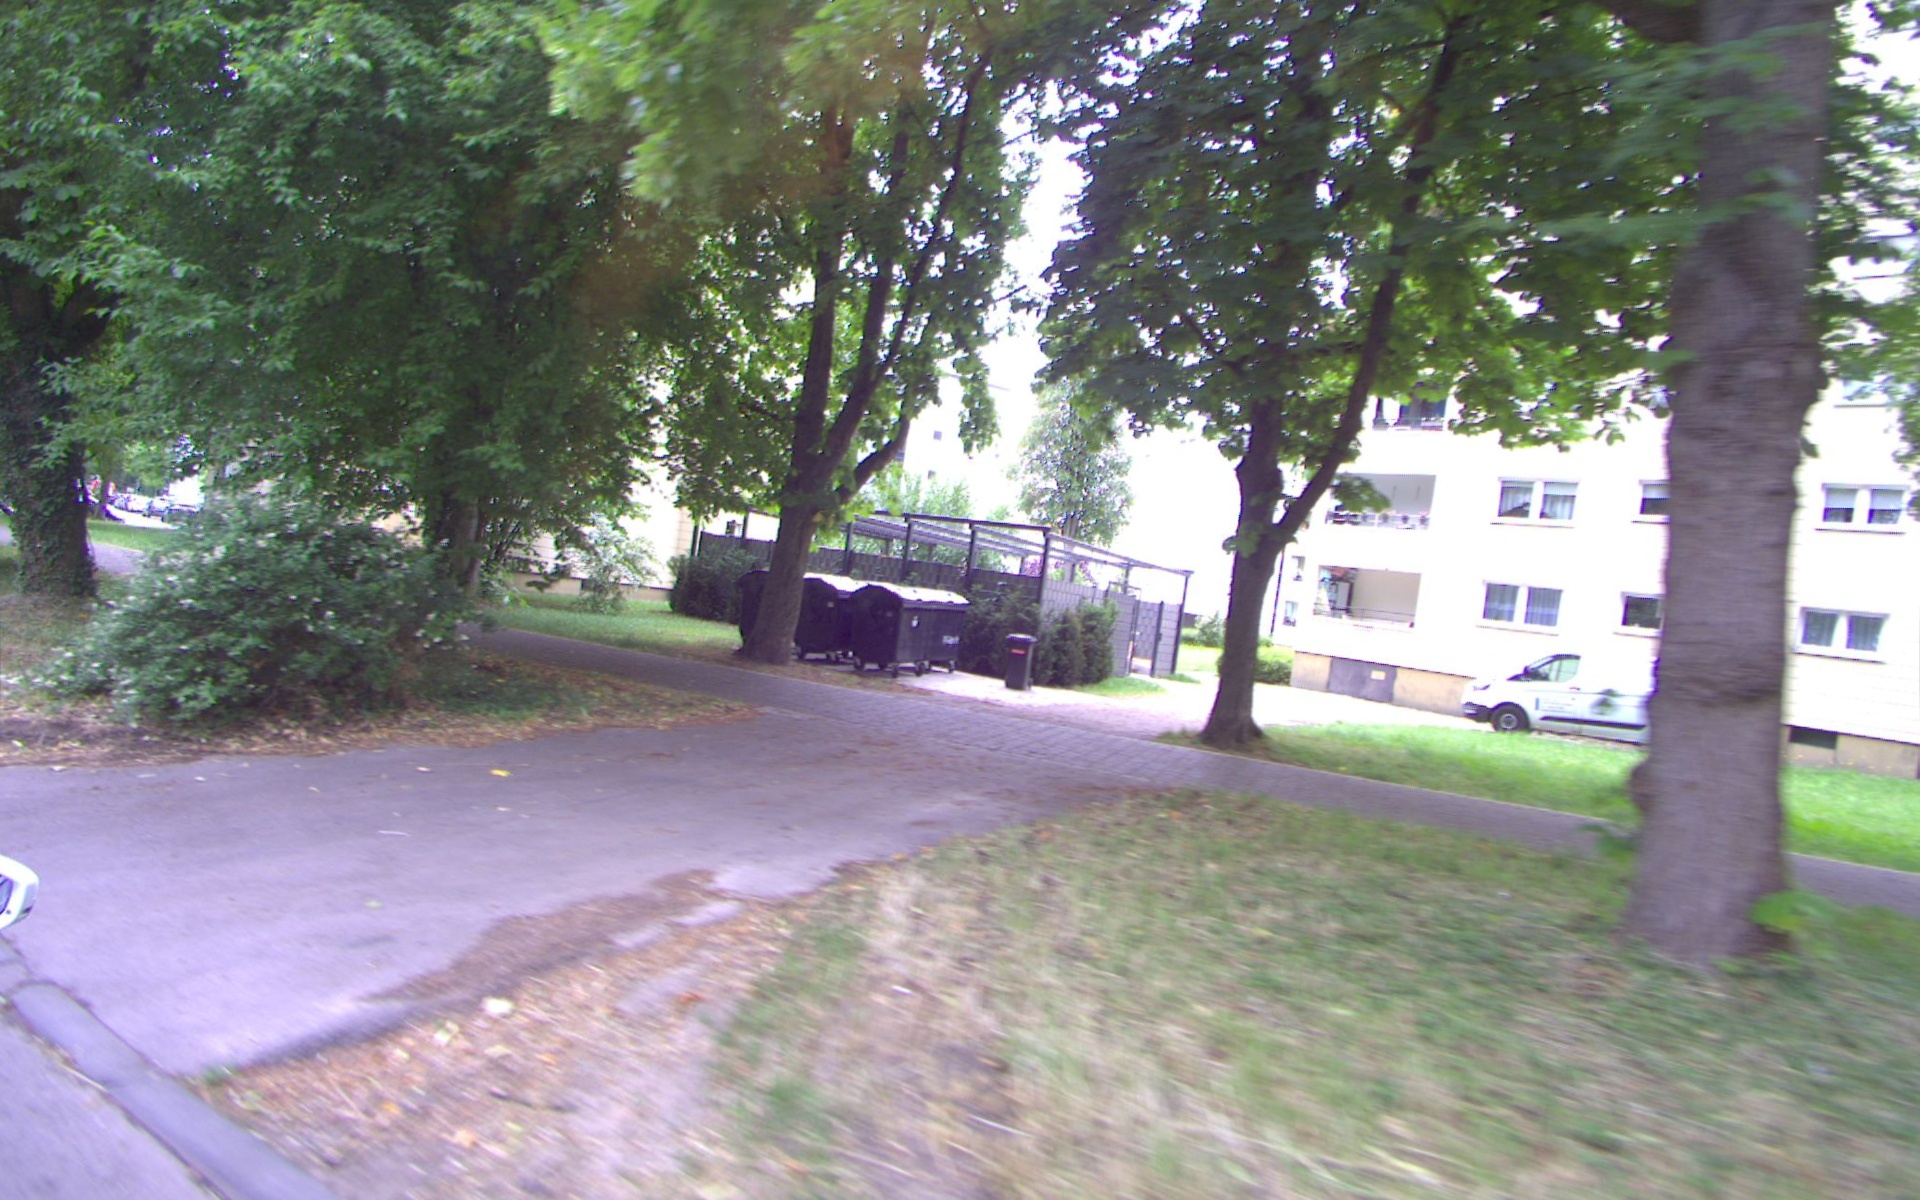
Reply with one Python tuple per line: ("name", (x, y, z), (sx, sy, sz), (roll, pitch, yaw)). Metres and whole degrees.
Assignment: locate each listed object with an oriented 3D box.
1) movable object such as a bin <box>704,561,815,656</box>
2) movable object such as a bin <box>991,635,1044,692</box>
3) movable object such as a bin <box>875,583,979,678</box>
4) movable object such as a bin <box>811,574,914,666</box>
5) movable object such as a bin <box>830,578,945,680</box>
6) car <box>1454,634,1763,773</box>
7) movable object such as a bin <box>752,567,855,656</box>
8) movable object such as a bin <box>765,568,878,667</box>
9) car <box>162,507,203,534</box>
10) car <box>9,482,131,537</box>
("movable object such as a bin", (-3.586, 0.167, 18.096), (1.291, 1.520, 1.329), (7, 1, 25))
("movable object such as a bin", (0.994, 1.095, 17.406), (0.657, 0.889, 0.600), (7, 1, 25))
("movable object such as a bin", (-0.584, 0.552, 18.247), (1.291, 1.520, 1.329), (7, 1, 25))
("movable object such as a bin", (-1.812, 0.381, 18.868), (1.291, 1.520, 1.329), (7, 1, 25))
("movable object such as a bin", (-1.204, 0.488, 16.958), (1.291, 1.520, 1.329), (7, 1, 25))
("car", (13.079, 2.004, 20.564), (4.889, 1.866, 2.085), (9, 2, 36))
("movable object such as a bin", (-3.007, 0.228, 19.425), (1.291, 1.520, 1.329), (7, 1, 25))
("movable object such as a bin", (-2.392, 0.315, 17.526), (1.291, 1.520, 1.329), (7, 1, 25))
("car", (-54.812, -5.619, 70.865), (2.074, 1.529, 3.956), (7, 0, -40))
("car", (-41.518, -4.229, 47.076), (3.971, 1.747, 1.780), (10, 1, -38))
